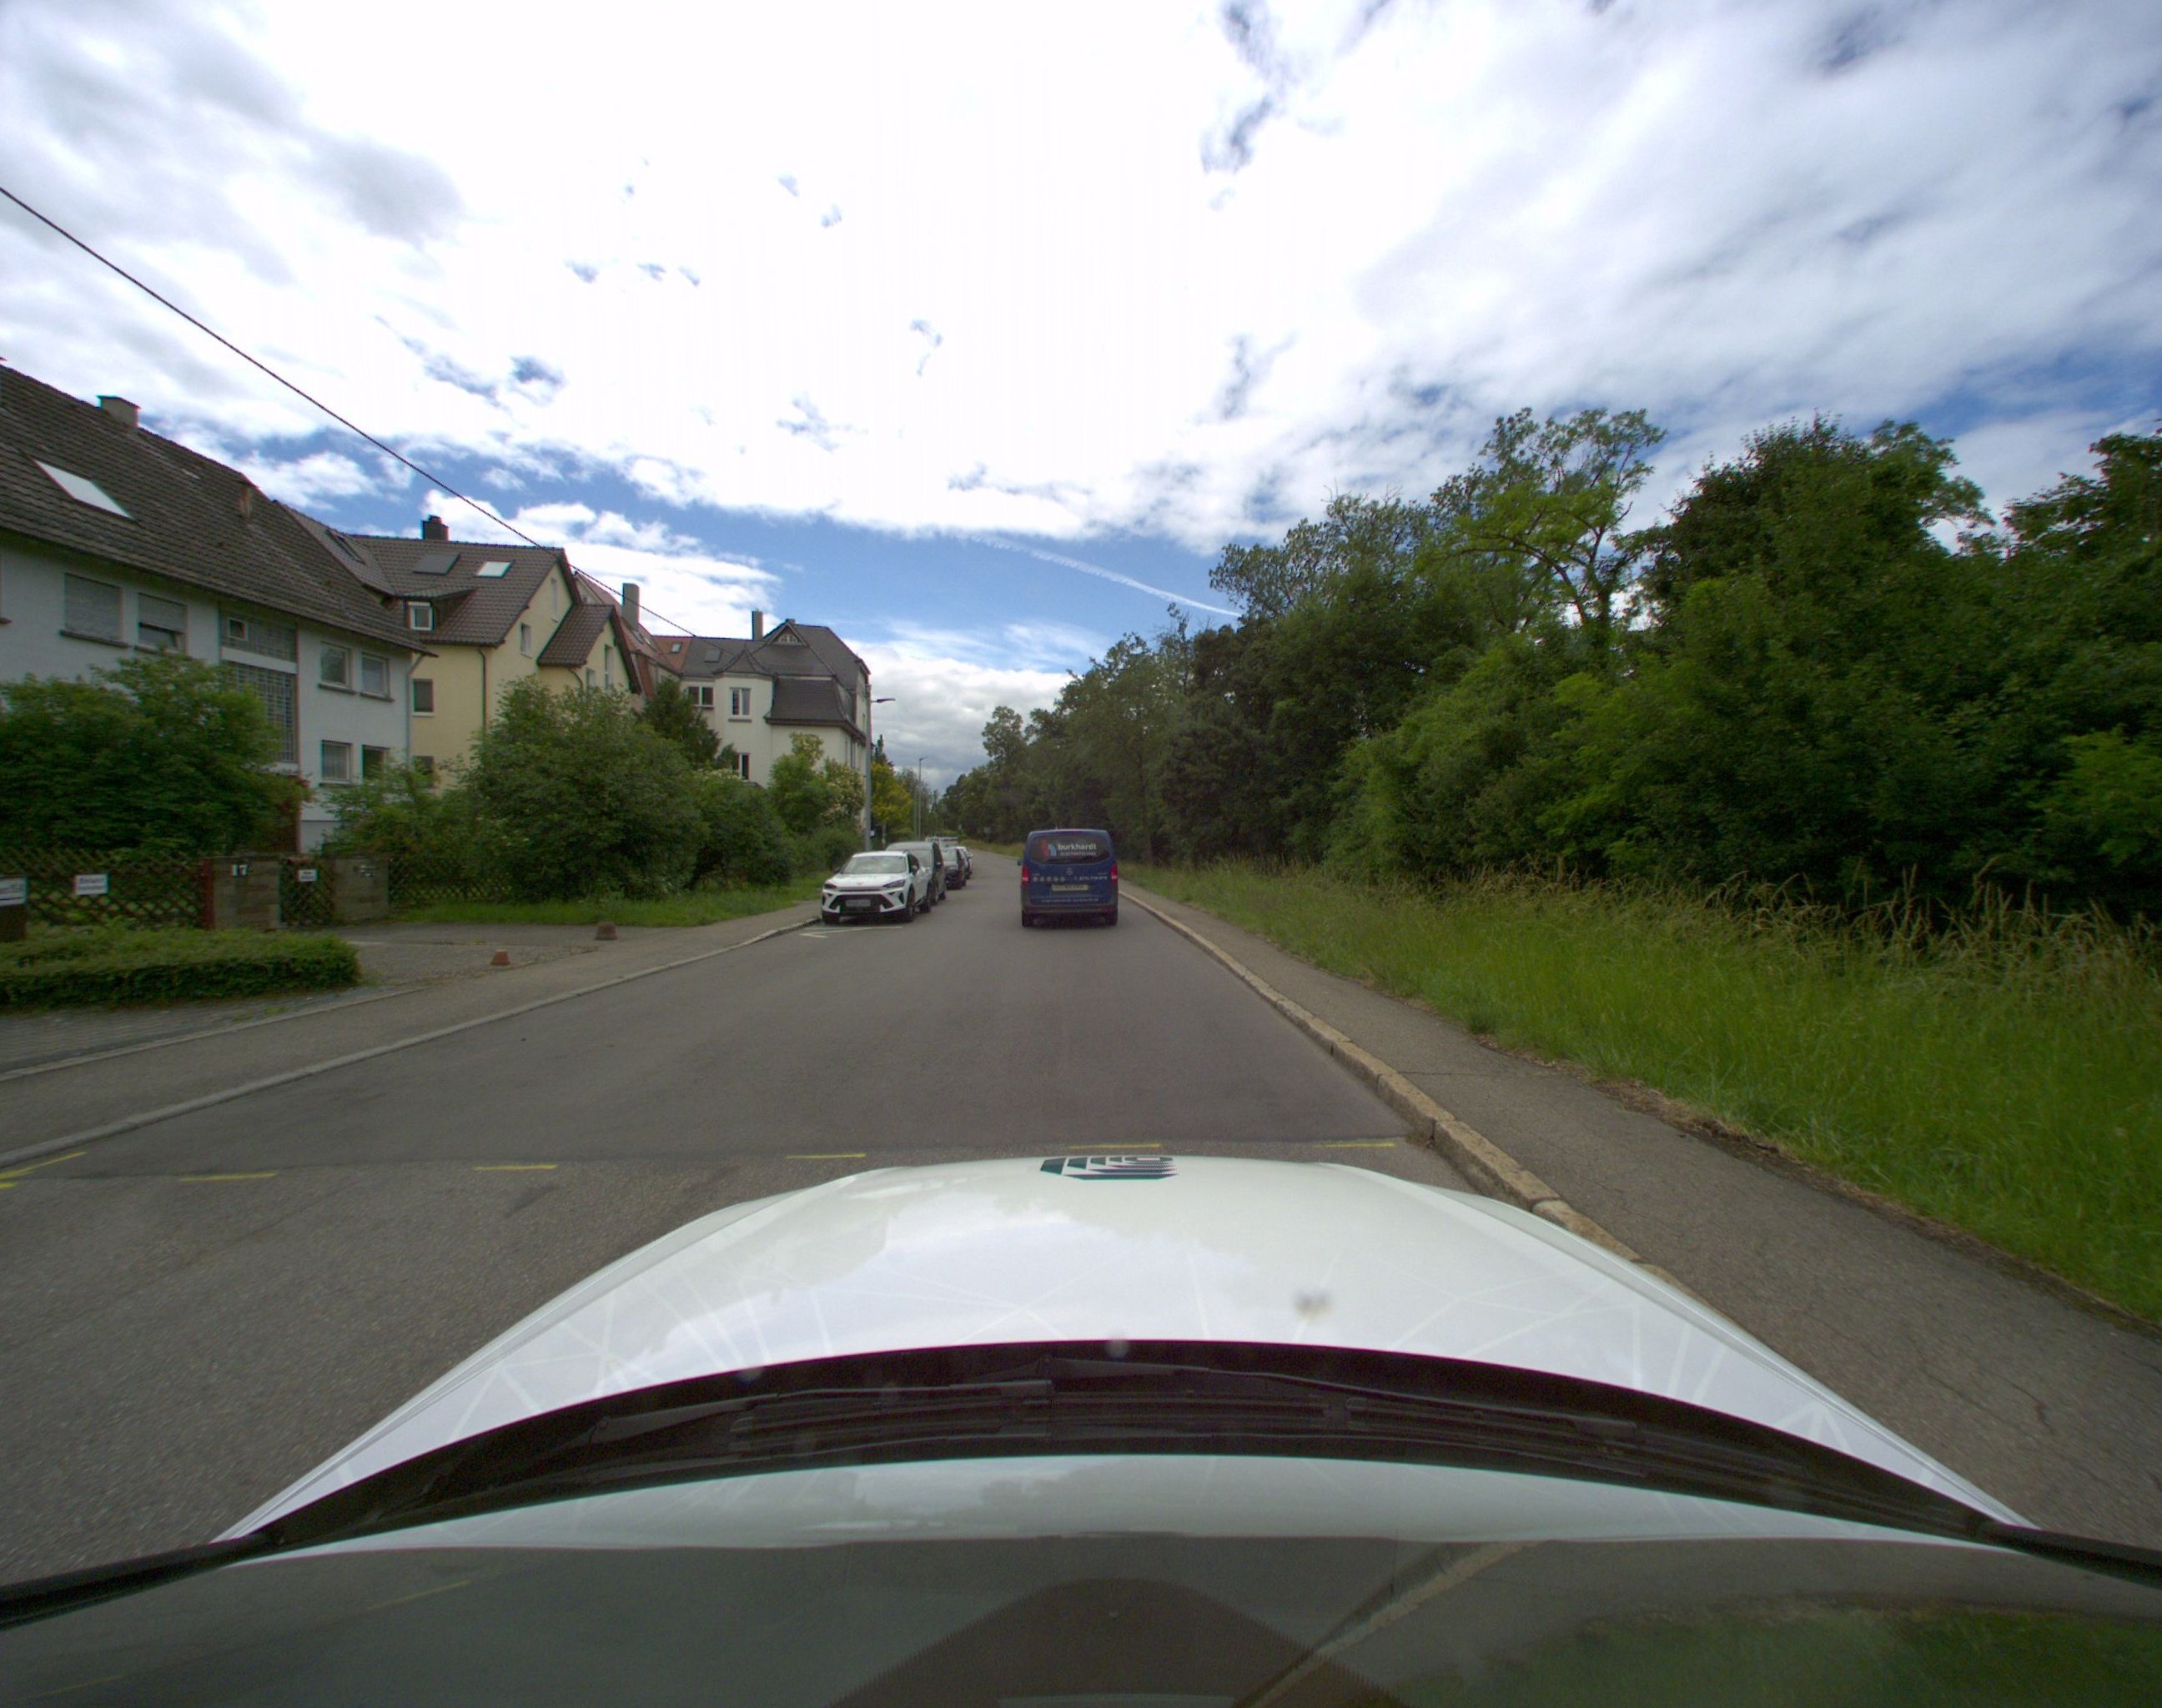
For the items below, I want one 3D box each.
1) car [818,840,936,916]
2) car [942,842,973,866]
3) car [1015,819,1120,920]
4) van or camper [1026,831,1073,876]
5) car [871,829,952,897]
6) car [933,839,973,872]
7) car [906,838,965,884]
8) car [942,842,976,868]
[{"bbox_3d":[-4.433,0.499,18.346,1.720,1.492,4.408,1,-1,-3],"label":"car"},{"bbox_3d":[-7.933,-0.024,52.431,1.604,1.408,3.850,3,0,-4],"label":"car"},{"bbox_3d":[-0.321,0.261,17.043,1.909,1.837,4.290,0,0,-2],"label":"car"},{"bbox_3d":[-1.601,-0.080,39.700,2.016,1.956,4.888,-2,2,-5],"label":"van or camper"},{"bbox_3d":[-4.873,0.267,23.984,1.741,1.764,4.406,2,-1,-5],"label":"car"},{"bbox_3d":[-6.363,0.066,40.702,1.604,1.513,3.850,3,0,-4],"label":"car"},{"bbox_3d":[-5.659,0.241,32.161,1.812,1.615,4.217,3,0,-5],"label":"car"},{"bbox_3d":[-6.912,0.053,46.323,1.605,1.342,3.849,3,0,-5],"label":"car"}]
